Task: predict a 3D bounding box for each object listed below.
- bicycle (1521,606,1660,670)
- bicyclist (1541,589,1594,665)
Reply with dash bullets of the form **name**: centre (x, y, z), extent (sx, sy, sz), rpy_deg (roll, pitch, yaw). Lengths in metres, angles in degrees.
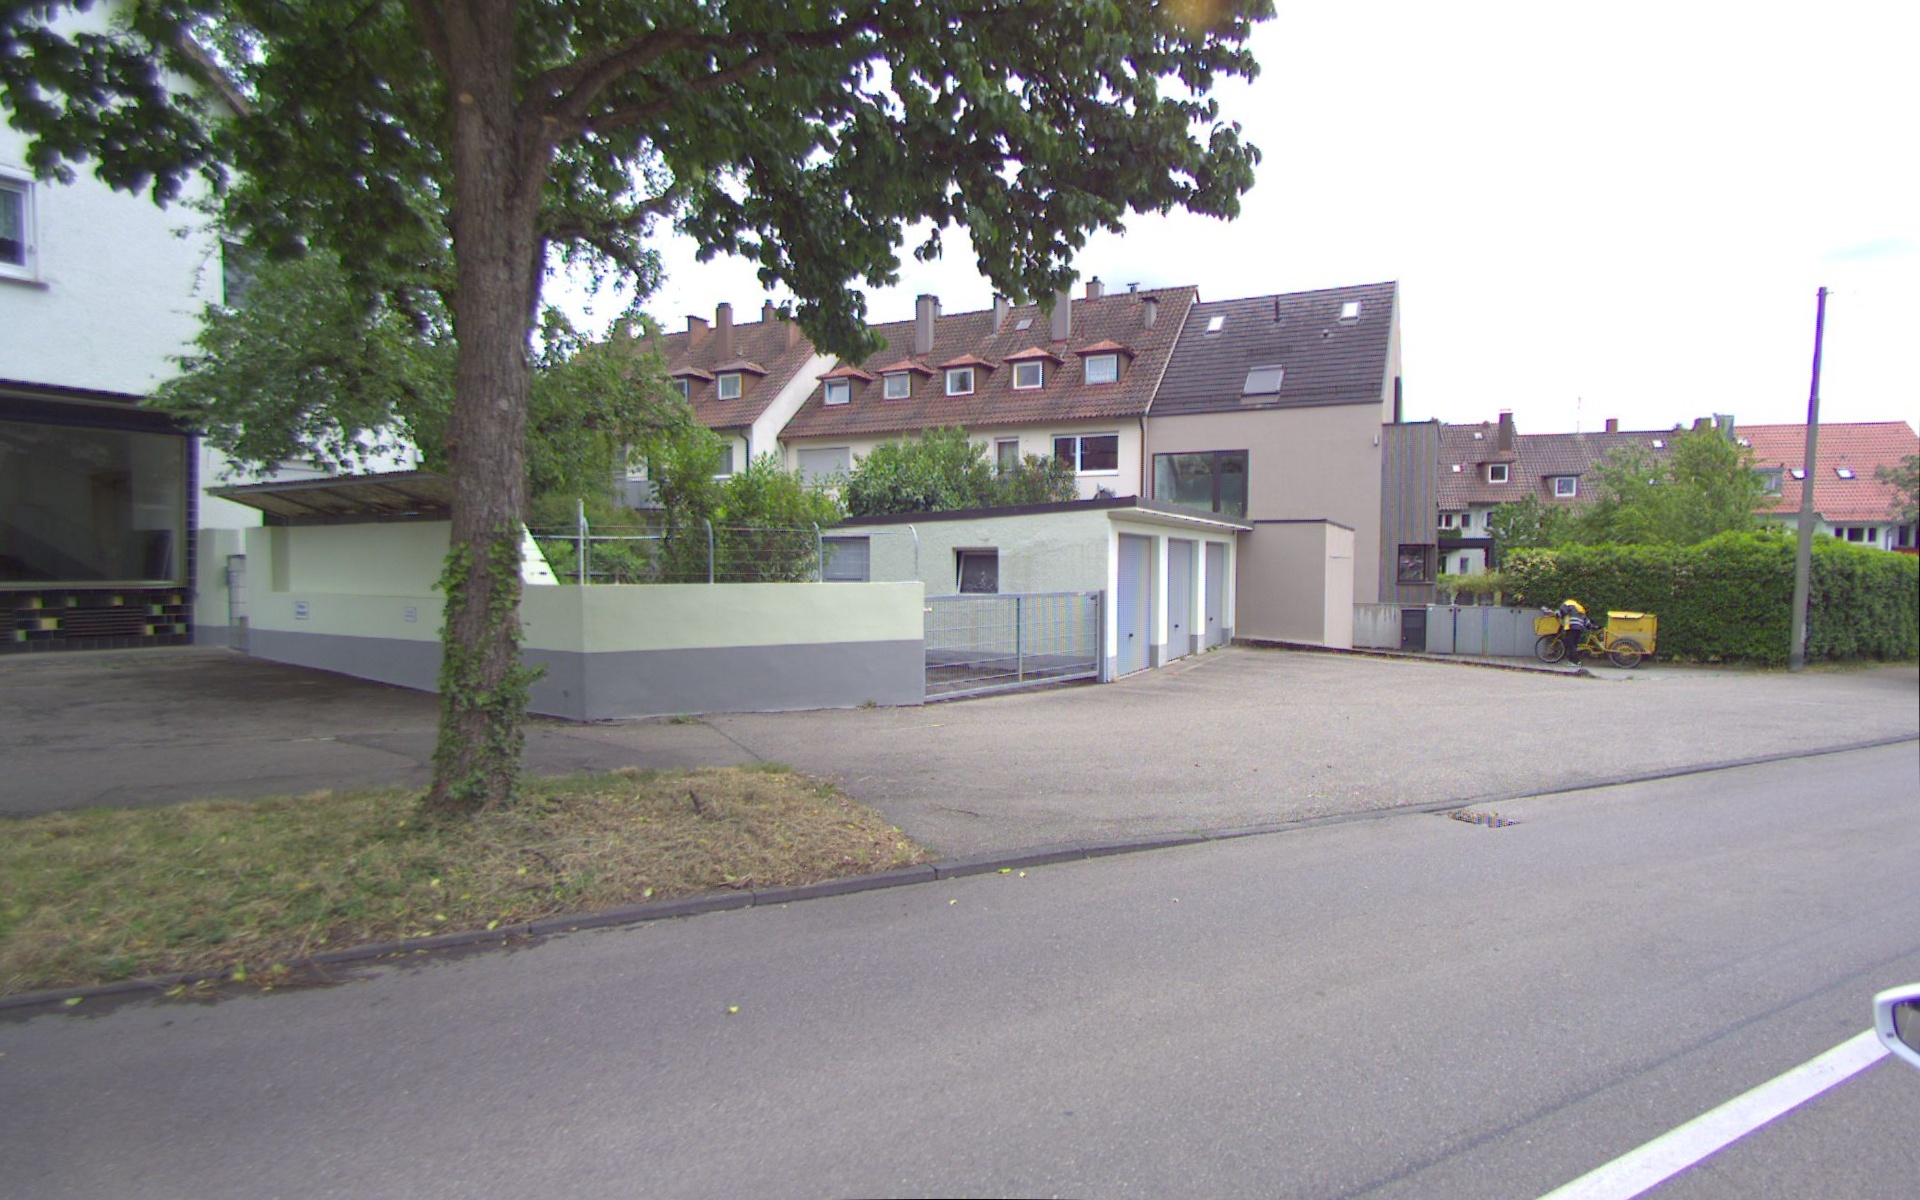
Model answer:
- **bicycle**: centre (14.577, 0.852, 23.280), extent (2.612, 1.283, 0.843), rpy_deg (3, 3, 41)
- **bicyclist**: centre (14.139, 0.605, 23.398), extent (0.838, 1.720, 0.707), rpy_deg (0, 2, -32)
